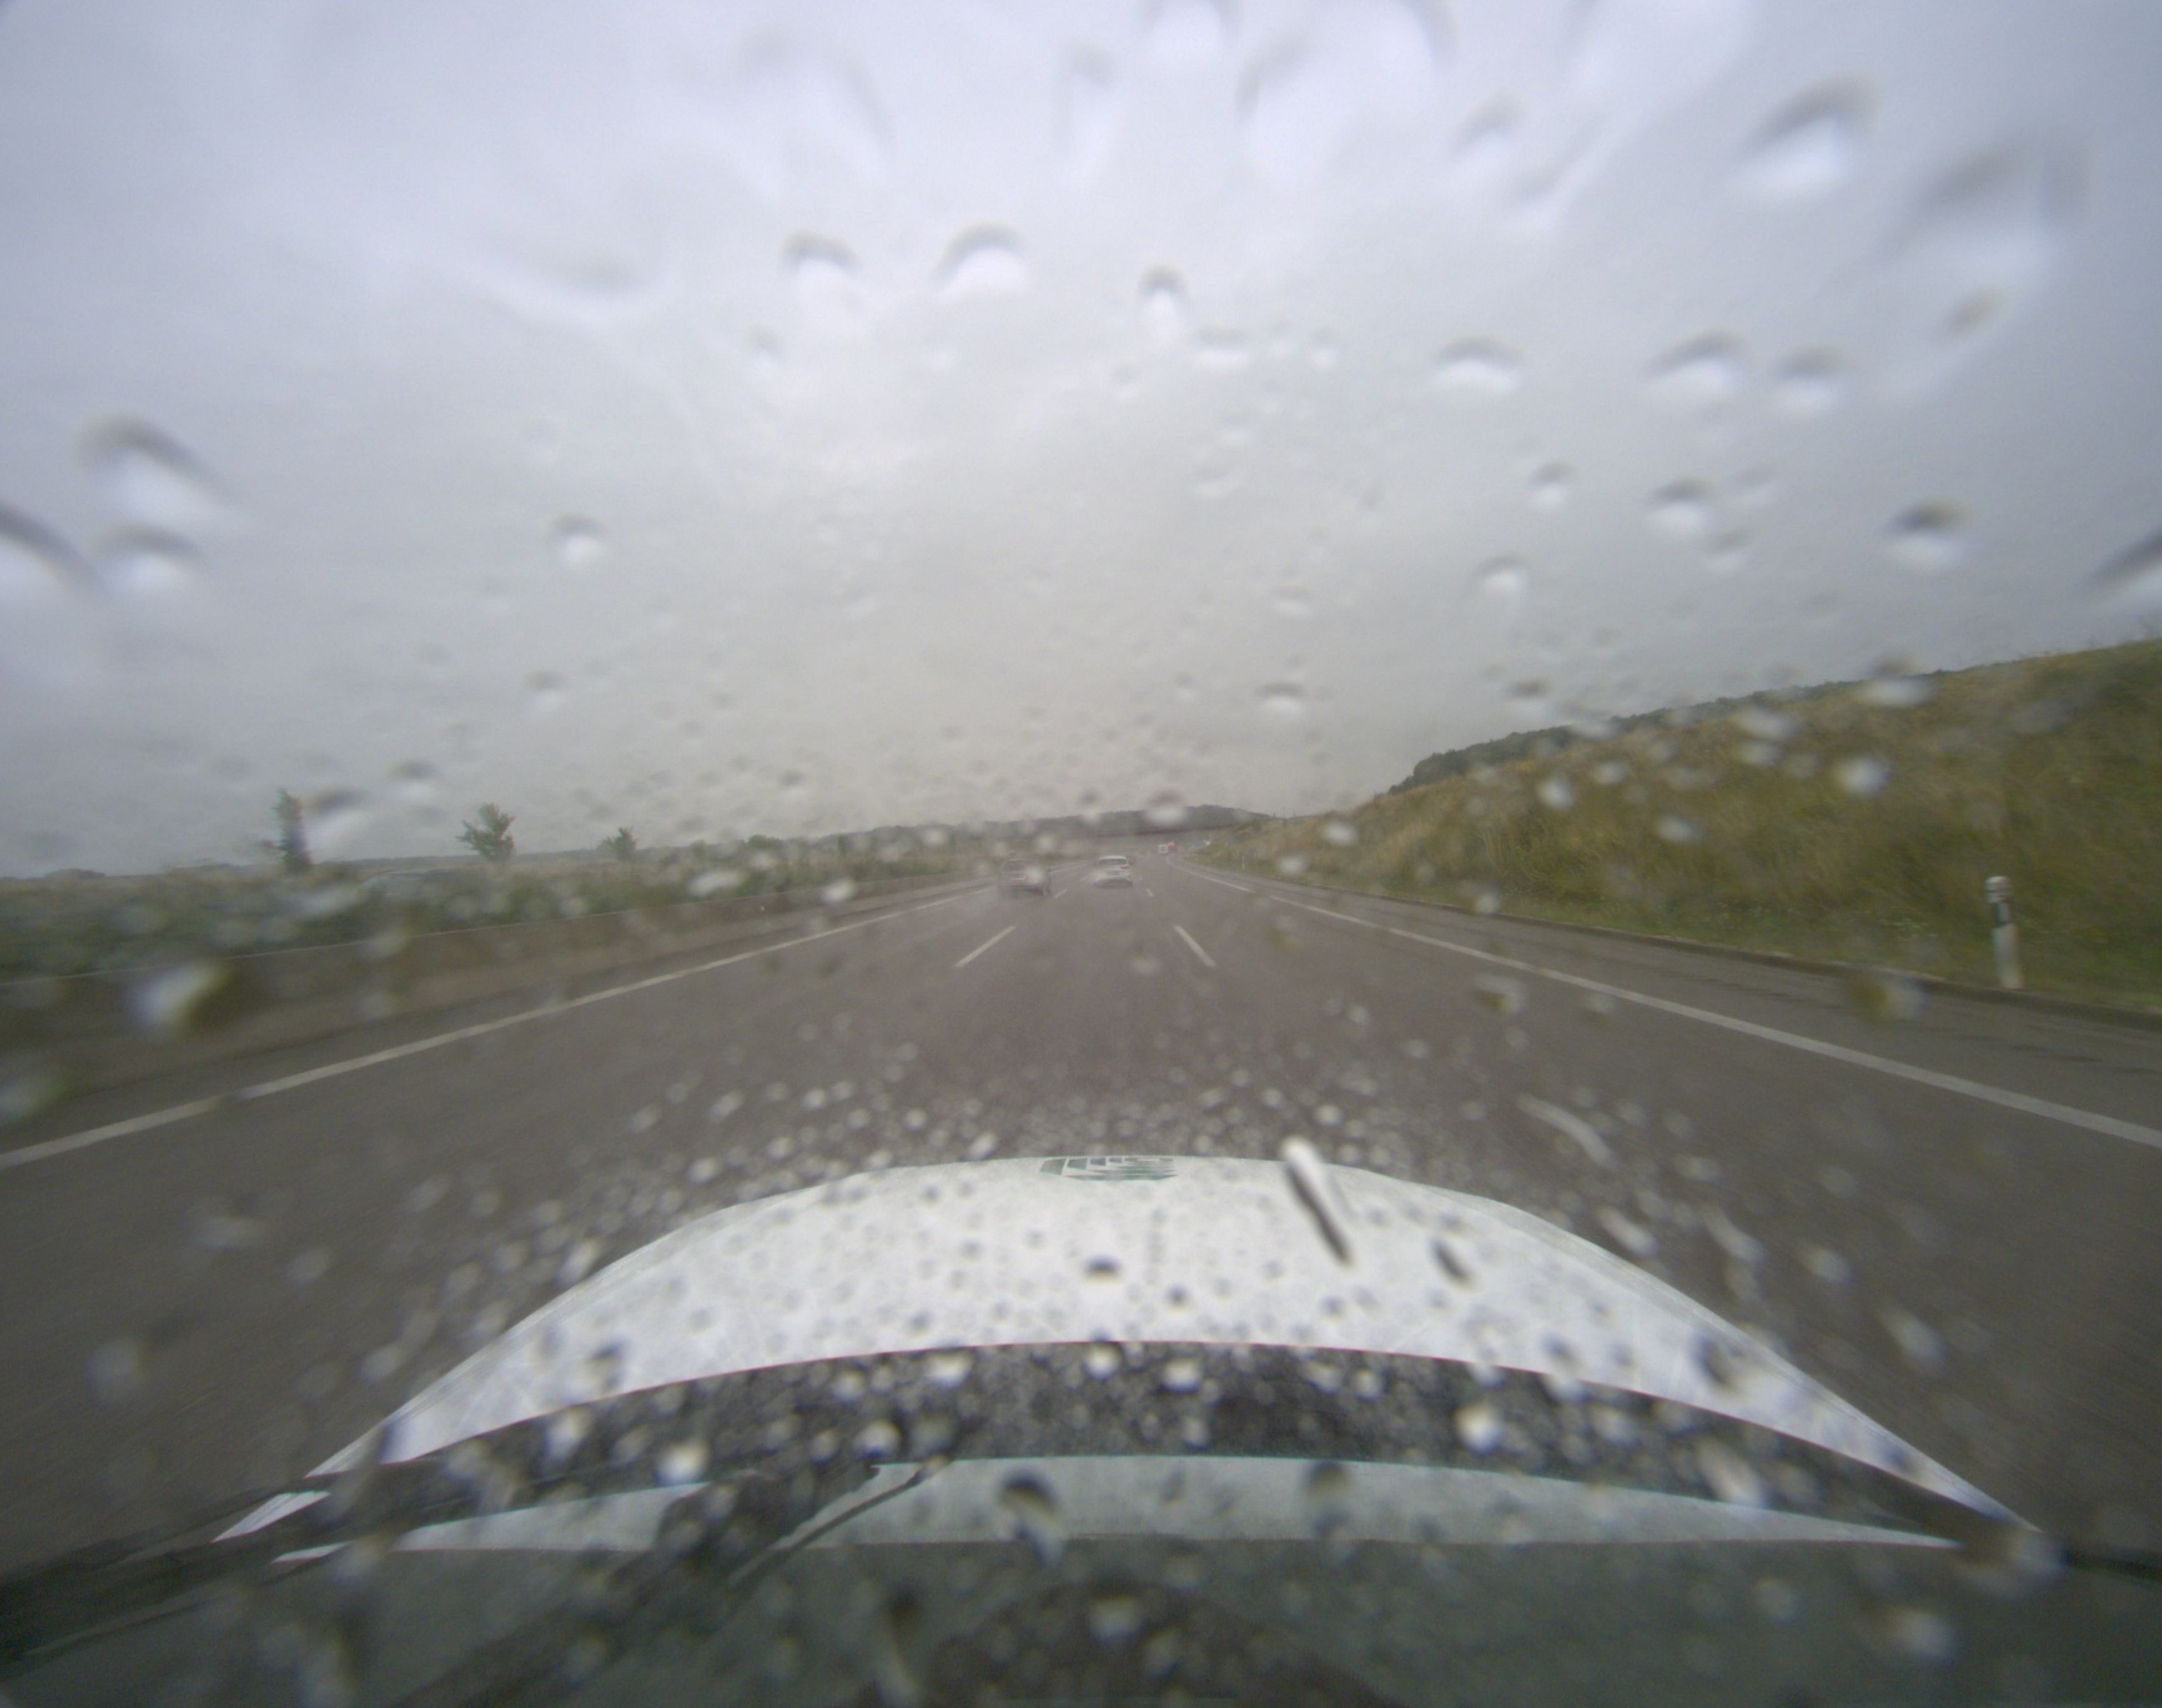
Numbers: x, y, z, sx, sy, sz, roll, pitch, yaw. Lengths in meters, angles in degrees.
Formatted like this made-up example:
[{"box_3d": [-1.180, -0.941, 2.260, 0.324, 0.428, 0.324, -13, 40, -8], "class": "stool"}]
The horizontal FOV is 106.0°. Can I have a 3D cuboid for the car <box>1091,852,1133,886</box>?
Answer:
[{"box_3d": [1.438, 0.682, 38.372, 1.861, 1.463, 4.001, -1, 0, 1], "class": "car"}]

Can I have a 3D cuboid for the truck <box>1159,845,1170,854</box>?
[{"box_3d": [20.948, -1.196, 204.210, 2.393, 2.252, 4.706, -1, 0, 10], "class": "truck"}]

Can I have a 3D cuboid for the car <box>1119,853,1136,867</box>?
[{"box_3d": [5.542, 0.679, 96.332, 1.985, 1.618, 4.004, -1, 0, 4], "class": "car"}]

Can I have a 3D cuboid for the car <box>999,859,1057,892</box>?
[{"box_3d": [-1.981, 0.792, 31.589, 1.817, 1.156, 4.214, -1, -1, 1], "class": "car"}]

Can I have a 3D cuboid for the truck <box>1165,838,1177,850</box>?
[{"box_3d": [28.757, -3.149, 259.667, 3.509, 3.742, 11.448, -1, 1, 6], "class": "truck"}]
